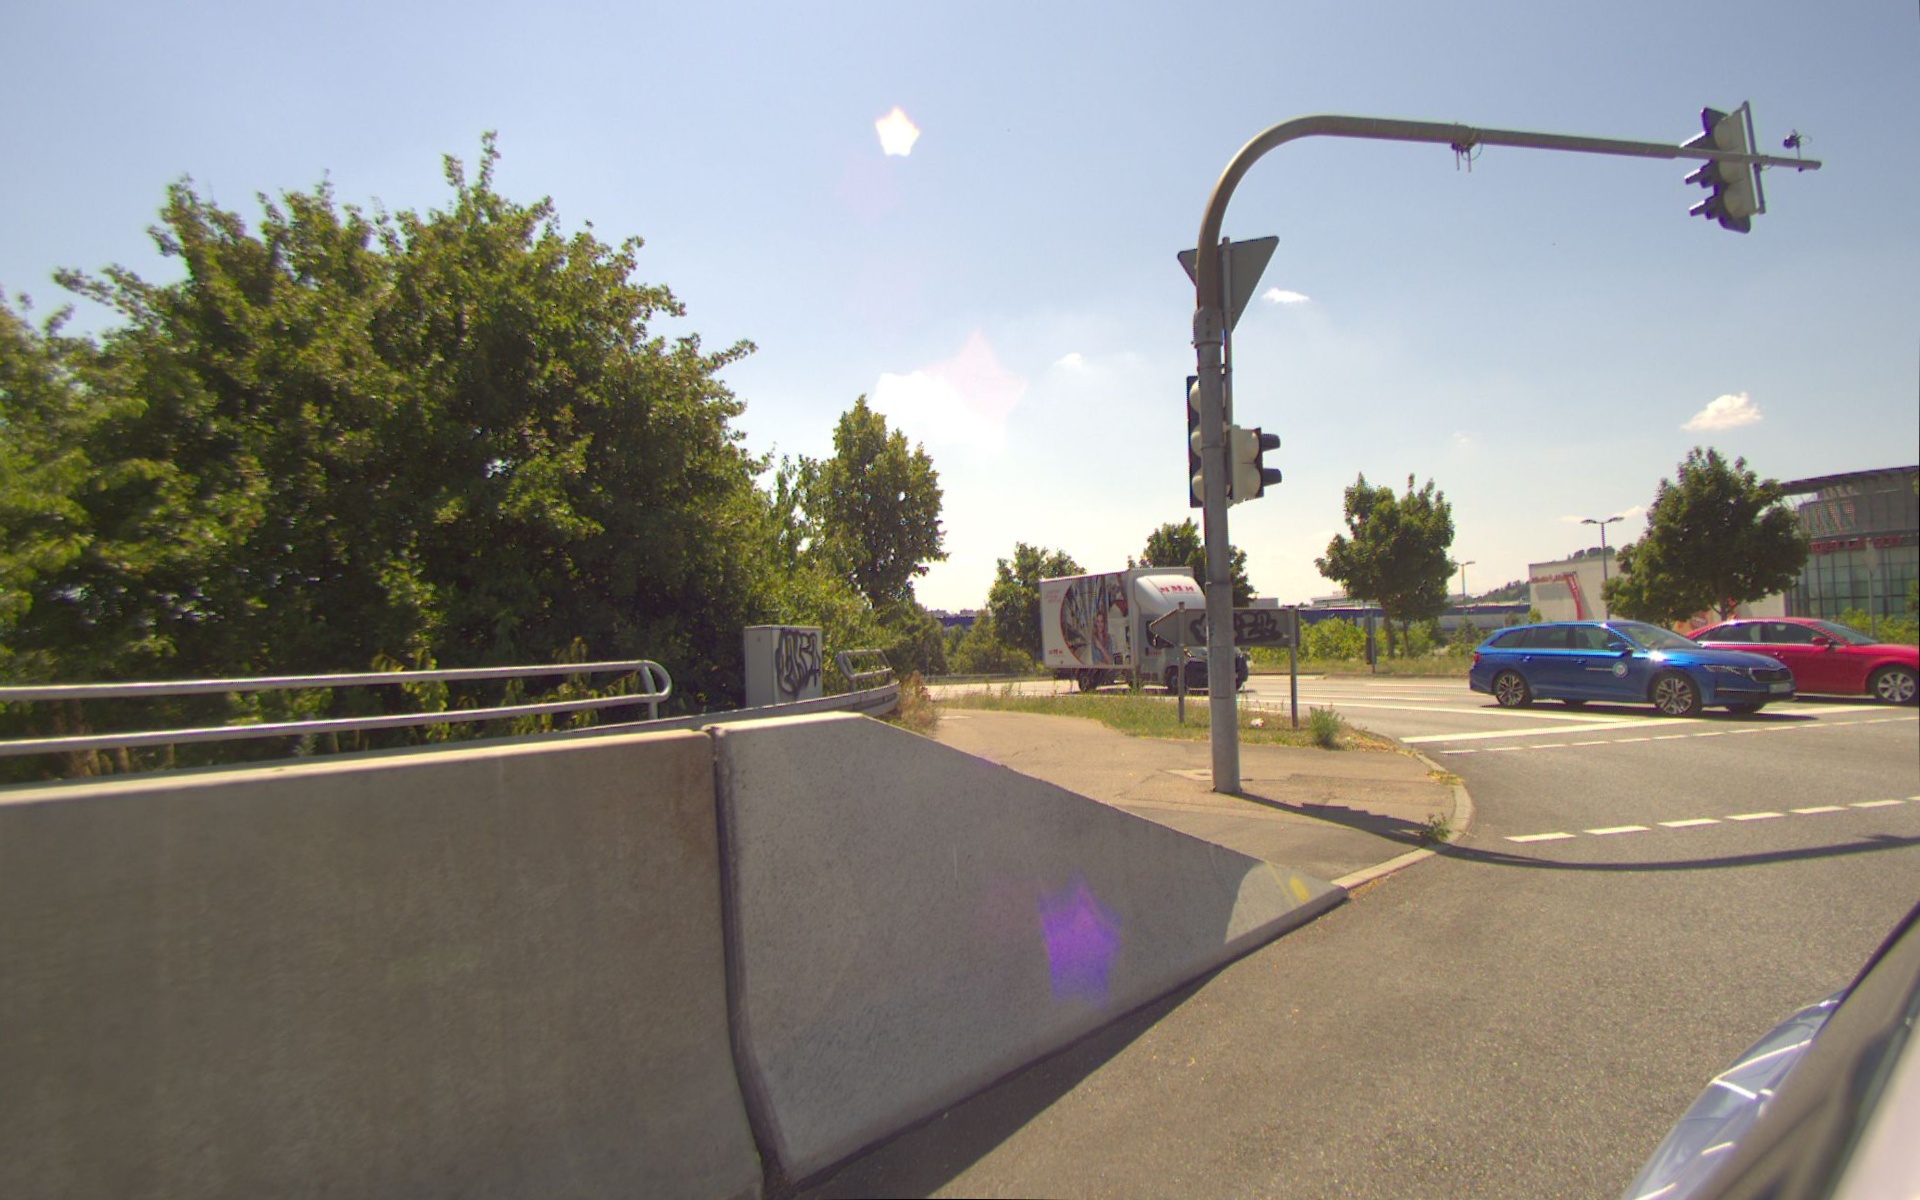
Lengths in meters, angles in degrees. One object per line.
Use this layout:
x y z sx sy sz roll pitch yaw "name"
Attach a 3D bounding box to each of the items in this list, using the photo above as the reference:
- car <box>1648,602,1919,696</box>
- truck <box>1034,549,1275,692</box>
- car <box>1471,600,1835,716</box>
14.603 0.836 17.221 1.633 1.406 4.451 -2 -3 -31 "car"
5.079 0.697 28.148 2.367 3.391 7.207 -3 -3 -28 "truck"
10.626 0.877 15.990 1.678 1.481 4.496 -2 -2 -22 "car"
